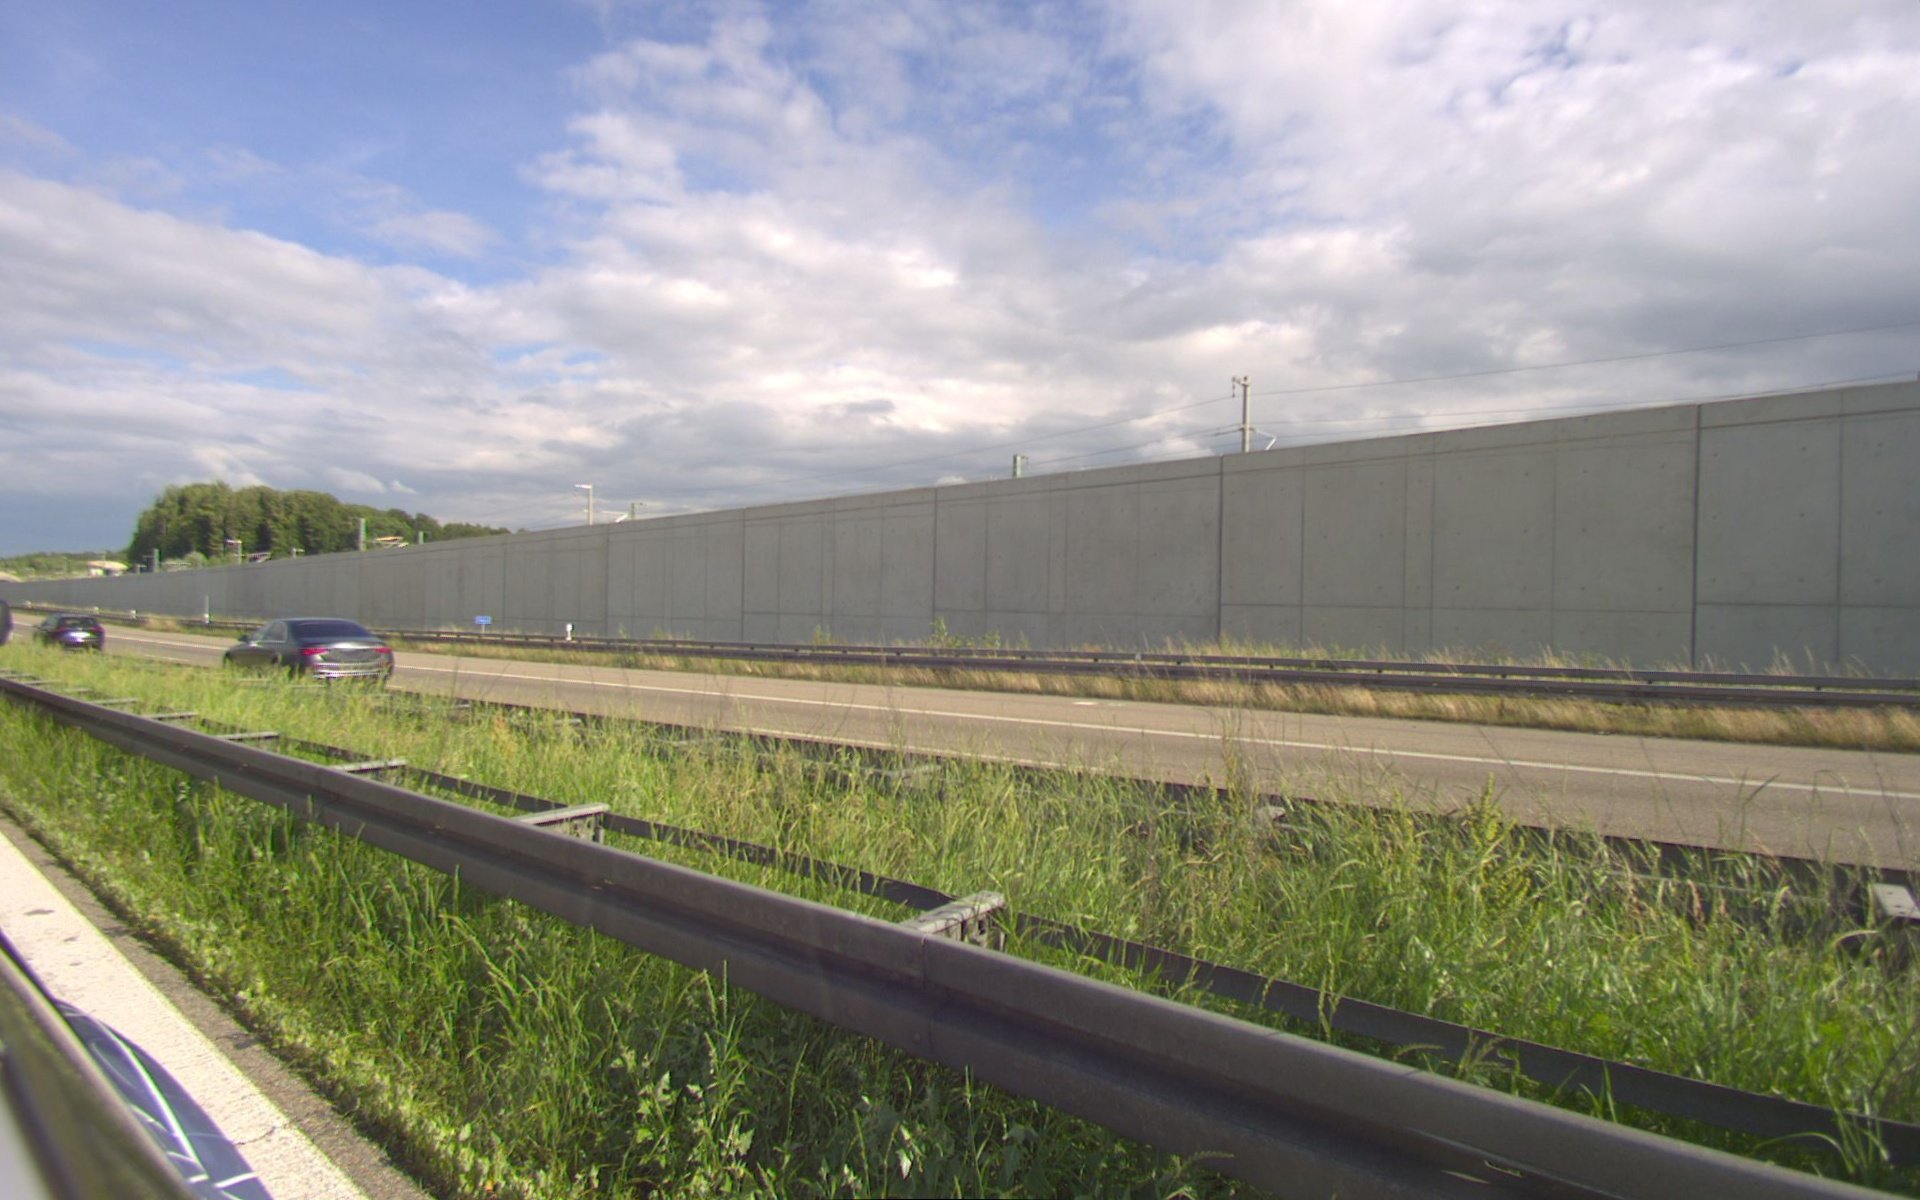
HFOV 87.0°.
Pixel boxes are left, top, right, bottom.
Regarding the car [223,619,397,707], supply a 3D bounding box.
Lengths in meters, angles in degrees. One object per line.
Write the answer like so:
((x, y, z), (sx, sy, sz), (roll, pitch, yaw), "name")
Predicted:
((-13.348, 1.185, 20.666), (4.689, 1.528, 1.784), (0, 0, 42), "car")

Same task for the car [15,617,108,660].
((-34.541, 1.432, 38.872), (4.393, 1.497, 1.974), (-1, 0, 39), "car")
